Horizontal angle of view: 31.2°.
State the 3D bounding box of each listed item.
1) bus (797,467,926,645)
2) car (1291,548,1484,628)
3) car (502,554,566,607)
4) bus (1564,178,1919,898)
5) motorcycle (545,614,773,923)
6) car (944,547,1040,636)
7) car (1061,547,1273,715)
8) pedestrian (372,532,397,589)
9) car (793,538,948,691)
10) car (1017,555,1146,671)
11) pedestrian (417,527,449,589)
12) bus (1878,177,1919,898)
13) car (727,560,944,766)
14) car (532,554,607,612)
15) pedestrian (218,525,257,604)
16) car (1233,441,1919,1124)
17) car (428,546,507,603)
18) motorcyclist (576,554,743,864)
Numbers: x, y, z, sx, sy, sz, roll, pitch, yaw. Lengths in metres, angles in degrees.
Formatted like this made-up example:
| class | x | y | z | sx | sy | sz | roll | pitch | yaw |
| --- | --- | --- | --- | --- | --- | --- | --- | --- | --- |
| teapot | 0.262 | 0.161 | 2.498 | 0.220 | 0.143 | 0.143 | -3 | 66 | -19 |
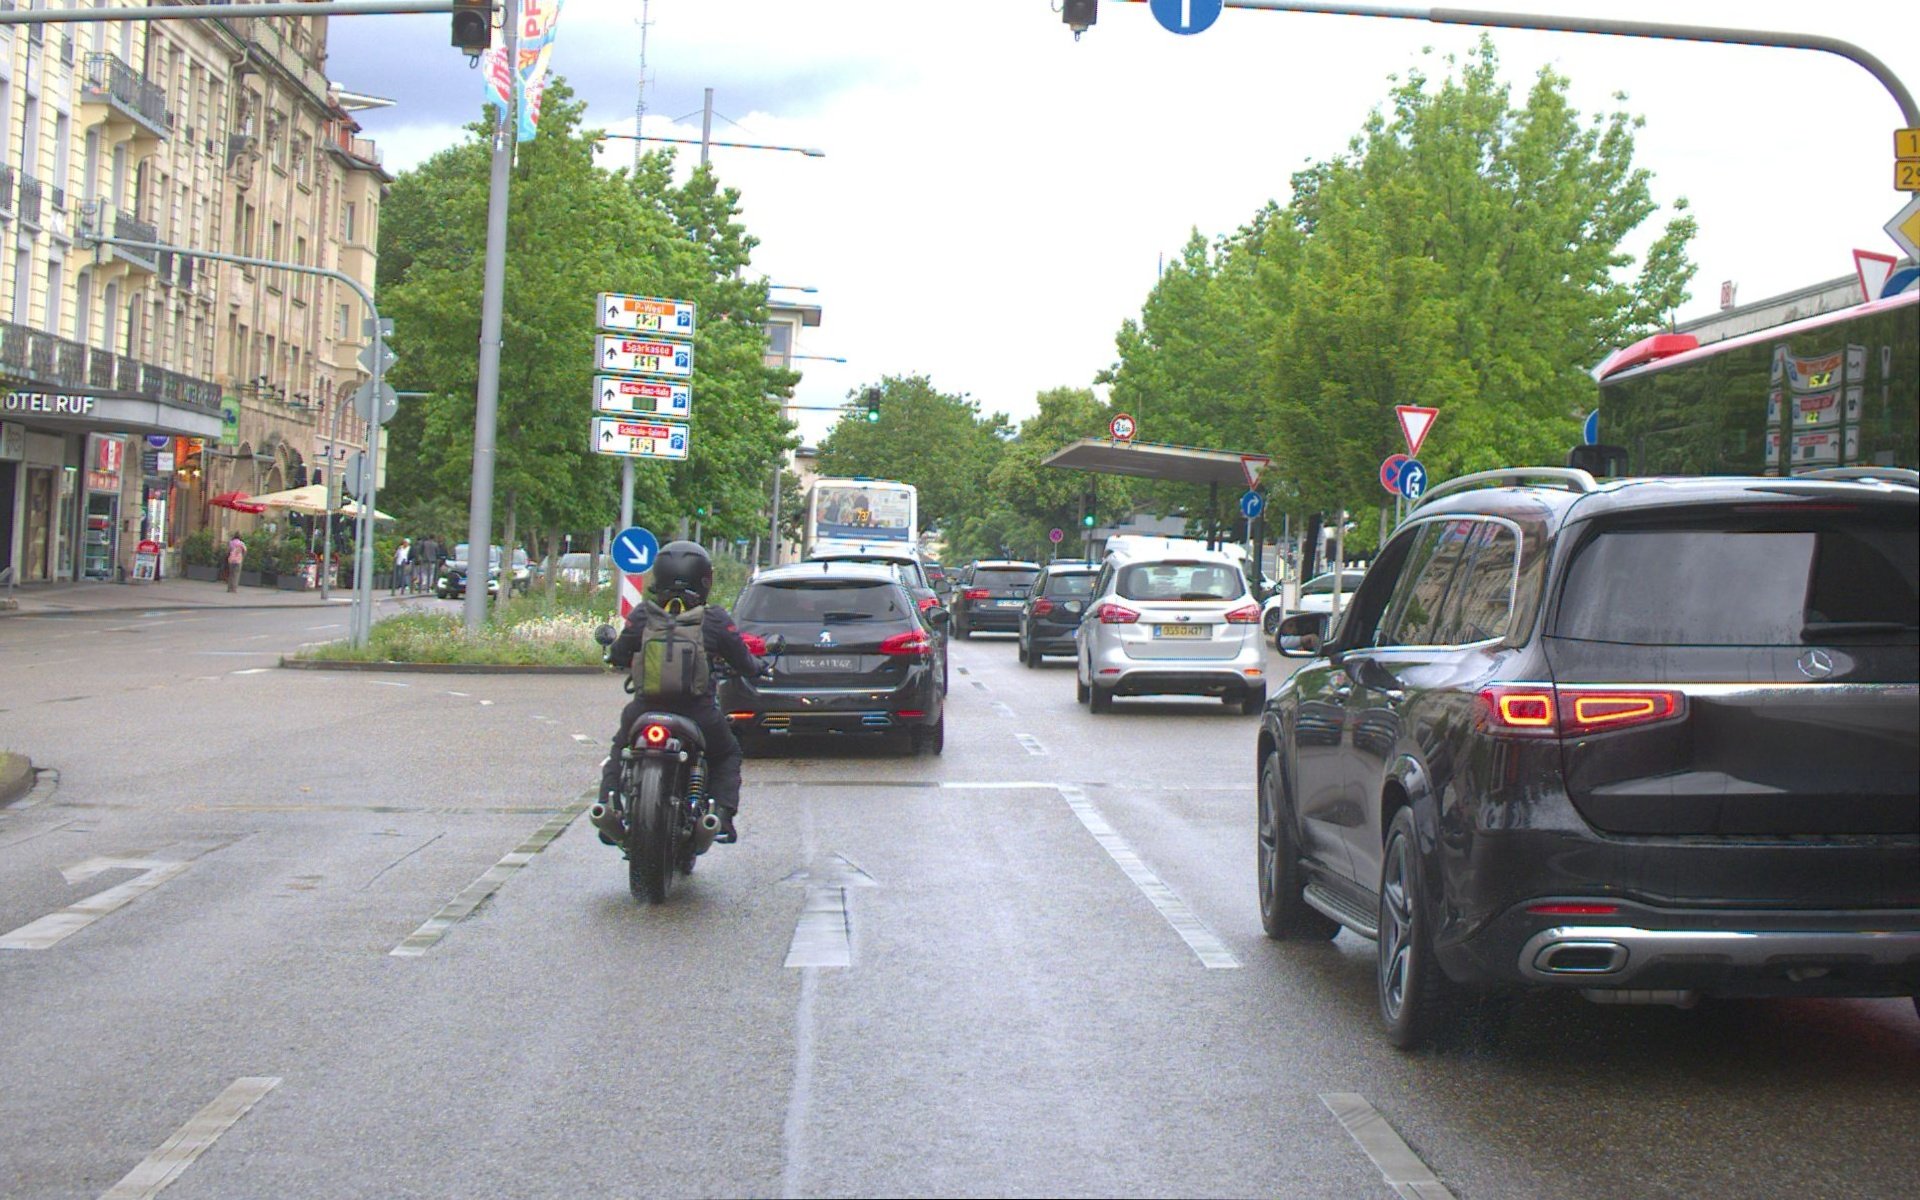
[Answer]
| class | x | y | z | sx | sy | sz | roll | pitch | yaw |
| --- | --- | --- | --- | --- | --- | --- | --- | --- | --- |
| bus | -2.478 | -1.013 | 84.535 | 2.837 | 3.974 | 11.864 | 2 | 0 | -2 |
| car | 8.577 | -0.261 | 69.163 | 1.576 | 1.562 | 3.794 | -1 | 1 | -40 |
| car | -12.635 | -0.592 | 102.150 | 1.575 | 1.562 | 3.430 | 0 | 1 | -2 |
| bus | 5.944 | -0.297 | 19.399 | 3.291 | 3.278 | 8.850 | 1 | 1 | -1 |
| motorcycle | -1.312 | 0.709 | 15.312 | 0.793 | 1.258 | 1.855 | 0 | 1 | 2 |
| car | 0.558 | -0.171 | 62.102 | 1.575 | 1.562 | 3.796 | 0 | 1 | -2 |
| car | 1.986 | 0.259 | 33.958 | 1.741 | 1.562 | 3.871 | 0 | 1 | -2 |
| pedestrian | -18.112 | -1.253 | 108.159 | 0.561 | 1.772 | 0.498 | 1 | 0 | 33 |
| car | -0.968 | 0.121 | 36.946 | 1.575 | 1.562 | 3.871 | 0 | 1 | -2 |
| car | 1.680 | 0.149 | 48.521 | 1.575 | 1.562 | 3.871 | 0 | 1 | -2 |
| pedestrian | -16.643 | -1.325 | 108.551 | 0.724 | 1.959 | 0.826 | 1 | 0 | -28 |
| bus | 6.092 | -0.212 | 10.754 | 3.286 | 3.280 | 10.878 | 1 | 1 | -1 |
| car | -0.942 | 0.438 | 27.025 | 1.575 | 1.499 | 3.871 | 0 | 1 | -1 |
| car | -10.666 | -0.481 | 94.068 | 1.780 | 1.562 | 3.430 | 0 | 1 | -2 |
| pedestrian | -18.592 | -0.905 | 88.453 | 0.724 | 2.007 | 0.826 | 1 | 0 | -28 |
| car | 2.189 | 0.468 | 11.873 | 1.957 | 1.869 | 4.874 | 0 | 1 | -2 |
| car | -13.682 | -0.711 | 95.645 | 1.780 | 1.562 | 3.430 | 0 | 1 | -2 |
| motorcyclist | -1.334 | 0.472 | 15.368 | 0.641 | 1.343 | 0.689 | 1 | 0 | 2 |
